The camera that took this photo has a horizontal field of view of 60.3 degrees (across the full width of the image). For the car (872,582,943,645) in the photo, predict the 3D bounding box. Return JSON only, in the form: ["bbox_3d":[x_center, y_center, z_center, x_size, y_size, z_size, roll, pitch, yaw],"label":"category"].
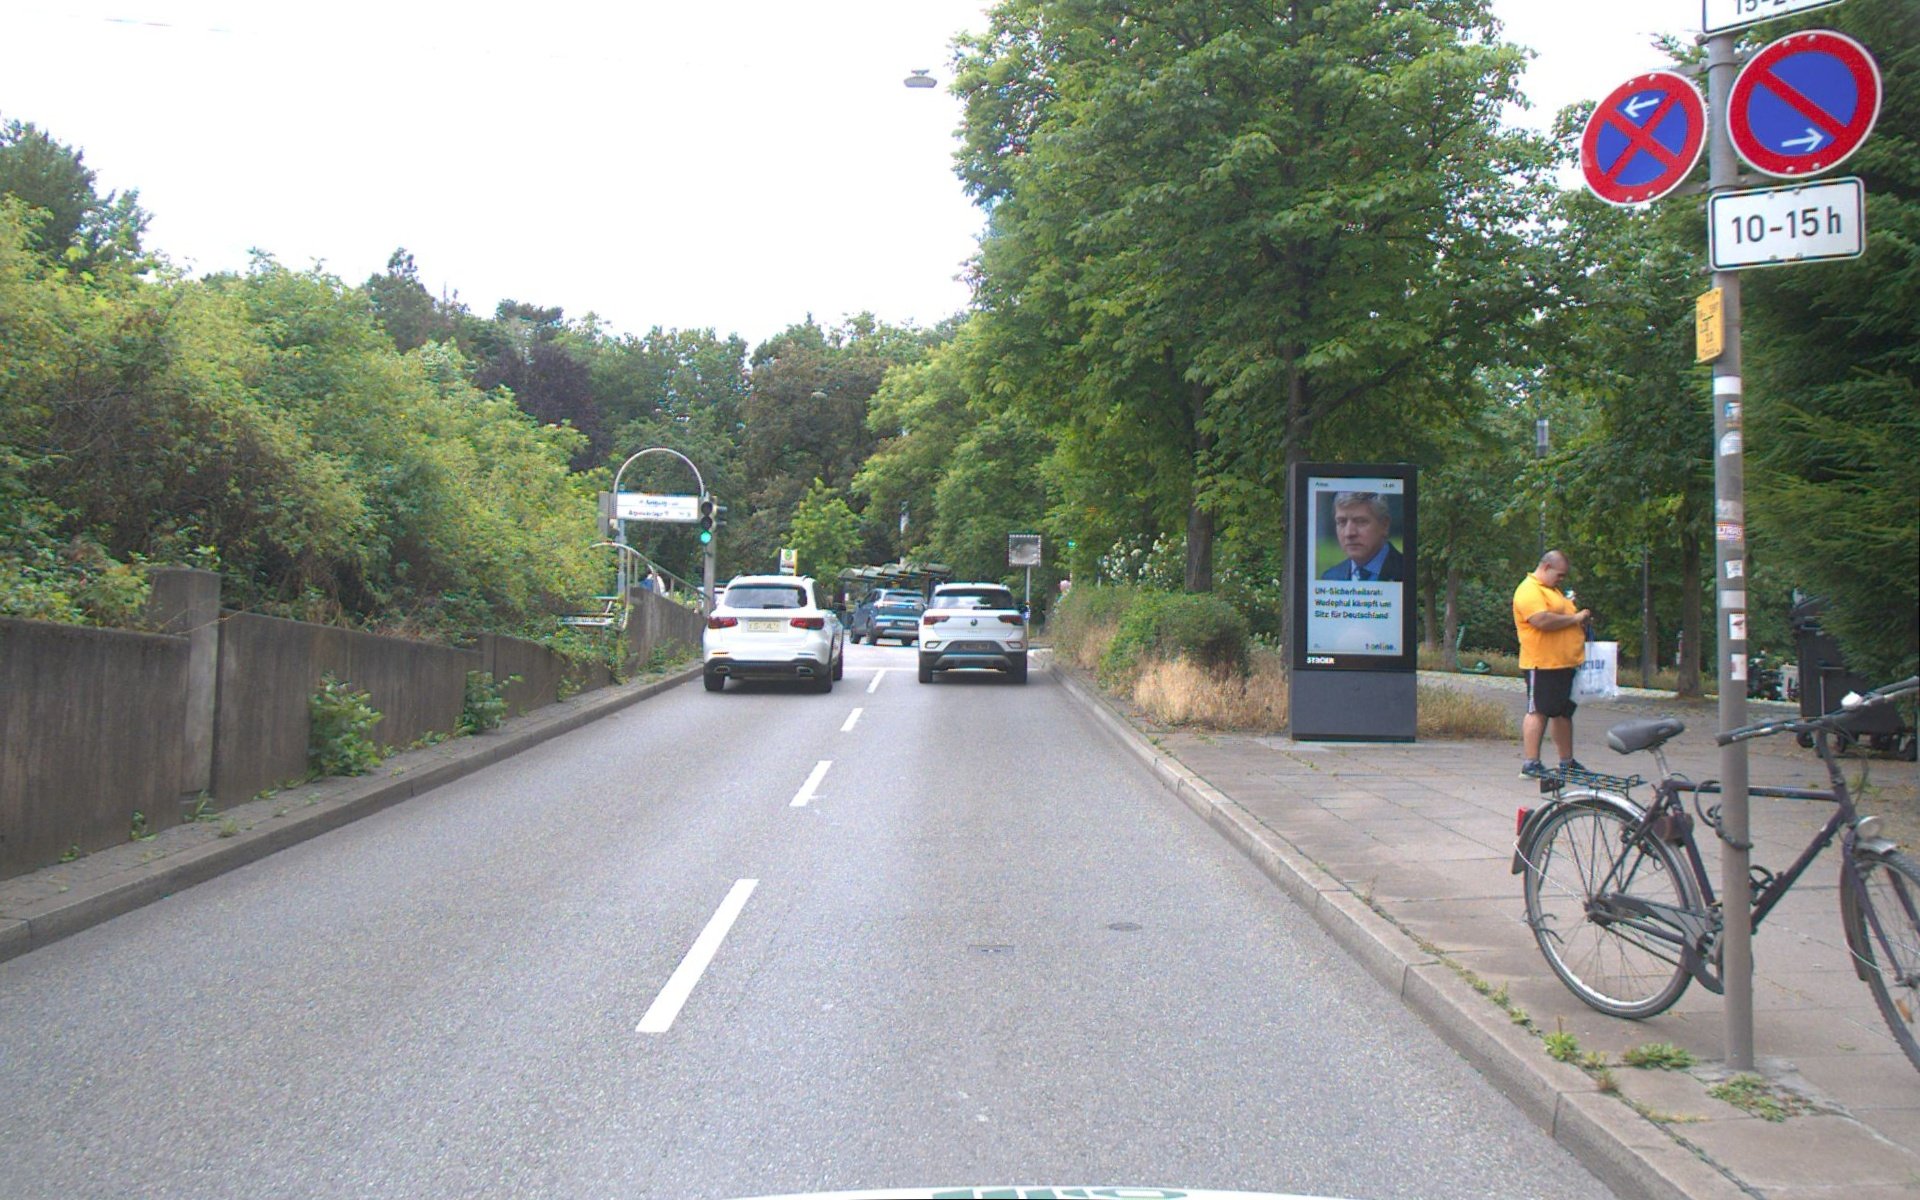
[{"bbox_3d":[-1.492,0.364,45.905,1.824,1.660,3.956,1,0,-4],"label":"car"}]

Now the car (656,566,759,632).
[{"bbox_3d":[-7.881,-0.059,51.367,1.970,1.914,3.966,2,0,-27],"label":"car"}]

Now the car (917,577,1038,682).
[{"bbox_3d":[0.285,0.464,27.328,1.826,1.583,3.894,1,0,0],"label":"car"}]

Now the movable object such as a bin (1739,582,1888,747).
[{"bbox_3d":[8.481,0.616,16.431,1.244,1.562,0.834,1,0,-35],"label":"movable object such as a bin"}]

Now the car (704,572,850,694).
[{"bbox_3d":[-2.676,0.453,25.038,1.839,1.681,4.340,0,0,-2],"label":"car"}]

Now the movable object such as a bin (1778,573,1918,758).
[{"bbox_3d":[7.871,0.561,14.652,0.829,1.562,1.142,-1,-1,43],"label":"movable object such as a bin"}]

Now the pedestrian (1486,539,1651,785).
[{"bbox_3d":[4.478,0.437,12.216,0.819,1.742,0.818,0,0,-15],"label":"pedestrian"}]

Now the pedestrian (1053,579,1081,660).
[{"bbox_3d":[2.308,0.415,35.700,0.602,1.742,0.727,0,0,3],"label":"pedestrian"}]

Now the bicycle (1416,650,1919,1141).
[{"bbox_3d":[2.311,0.762,4.996,0.630,1.163,2.049,0,0,-25],"label":"bicycle"}]

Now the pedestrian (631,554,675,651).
[{"bbox_3d":[-6.090,0.054,32.807,0.690,1.893,0.614,1,0,6],"label":"pedestrian"}]
